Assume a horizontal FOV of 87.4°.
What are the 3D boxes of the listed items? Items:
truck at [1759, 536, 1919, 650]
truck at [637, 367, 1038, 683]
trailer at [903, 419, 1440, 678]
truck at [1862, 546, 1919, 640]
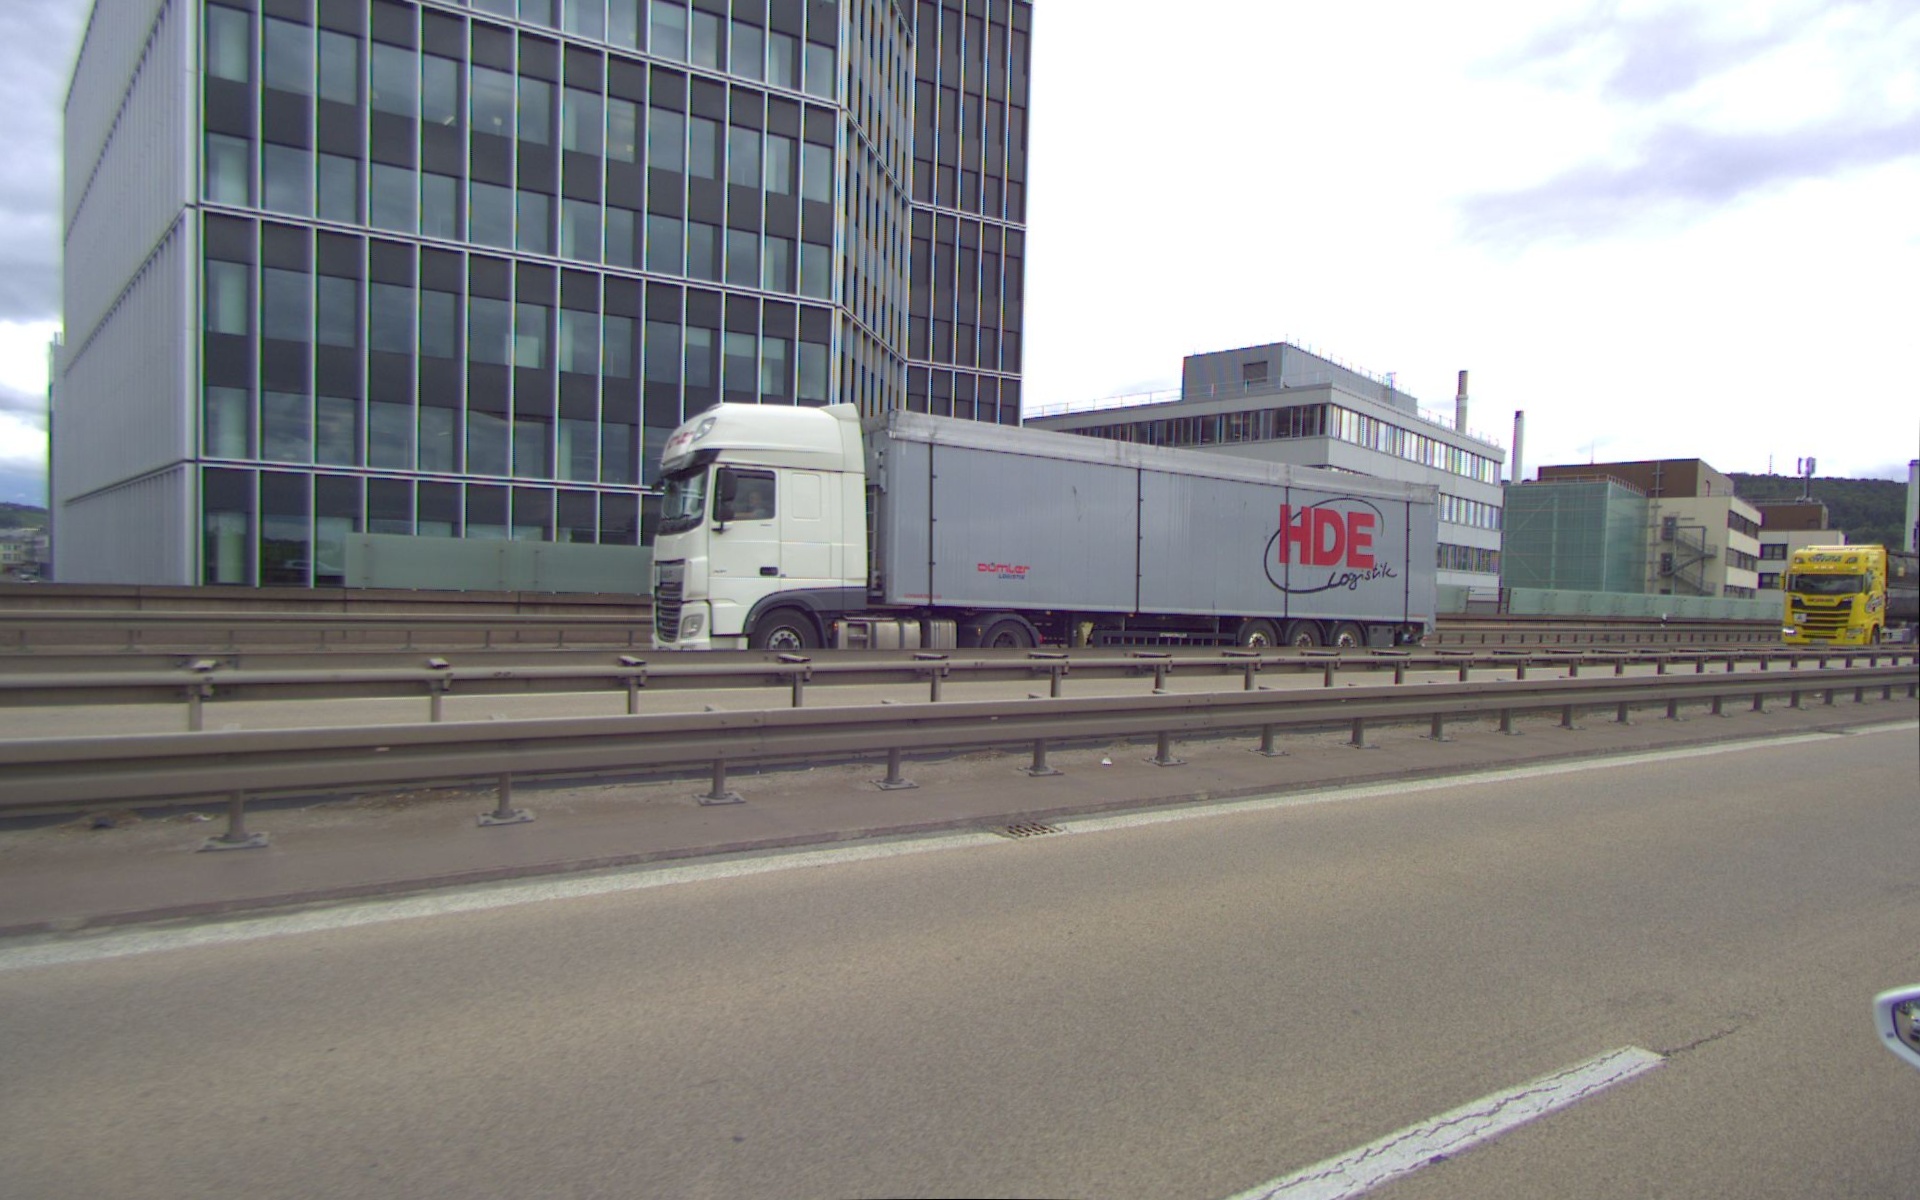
[{"bbox_3d":[36.468,-0.108,40.643,11.733,4.119,3.038,2,0,-34],"label":"truck"},{"bbox_3d":[-1.866,-0.944,15.818,5.583,4.134,2.757,1,0,-32],"label":"truck"},{"bbox_3d":[4.721,-0.704,19.979,11.753,4.040,2.829,1,0,-32],"label":"trailer"},{"bbox_3d":[45.182,-0.191,46.382,8.570,4.119,3.039,2,0,-33],"label":"truck"}]
